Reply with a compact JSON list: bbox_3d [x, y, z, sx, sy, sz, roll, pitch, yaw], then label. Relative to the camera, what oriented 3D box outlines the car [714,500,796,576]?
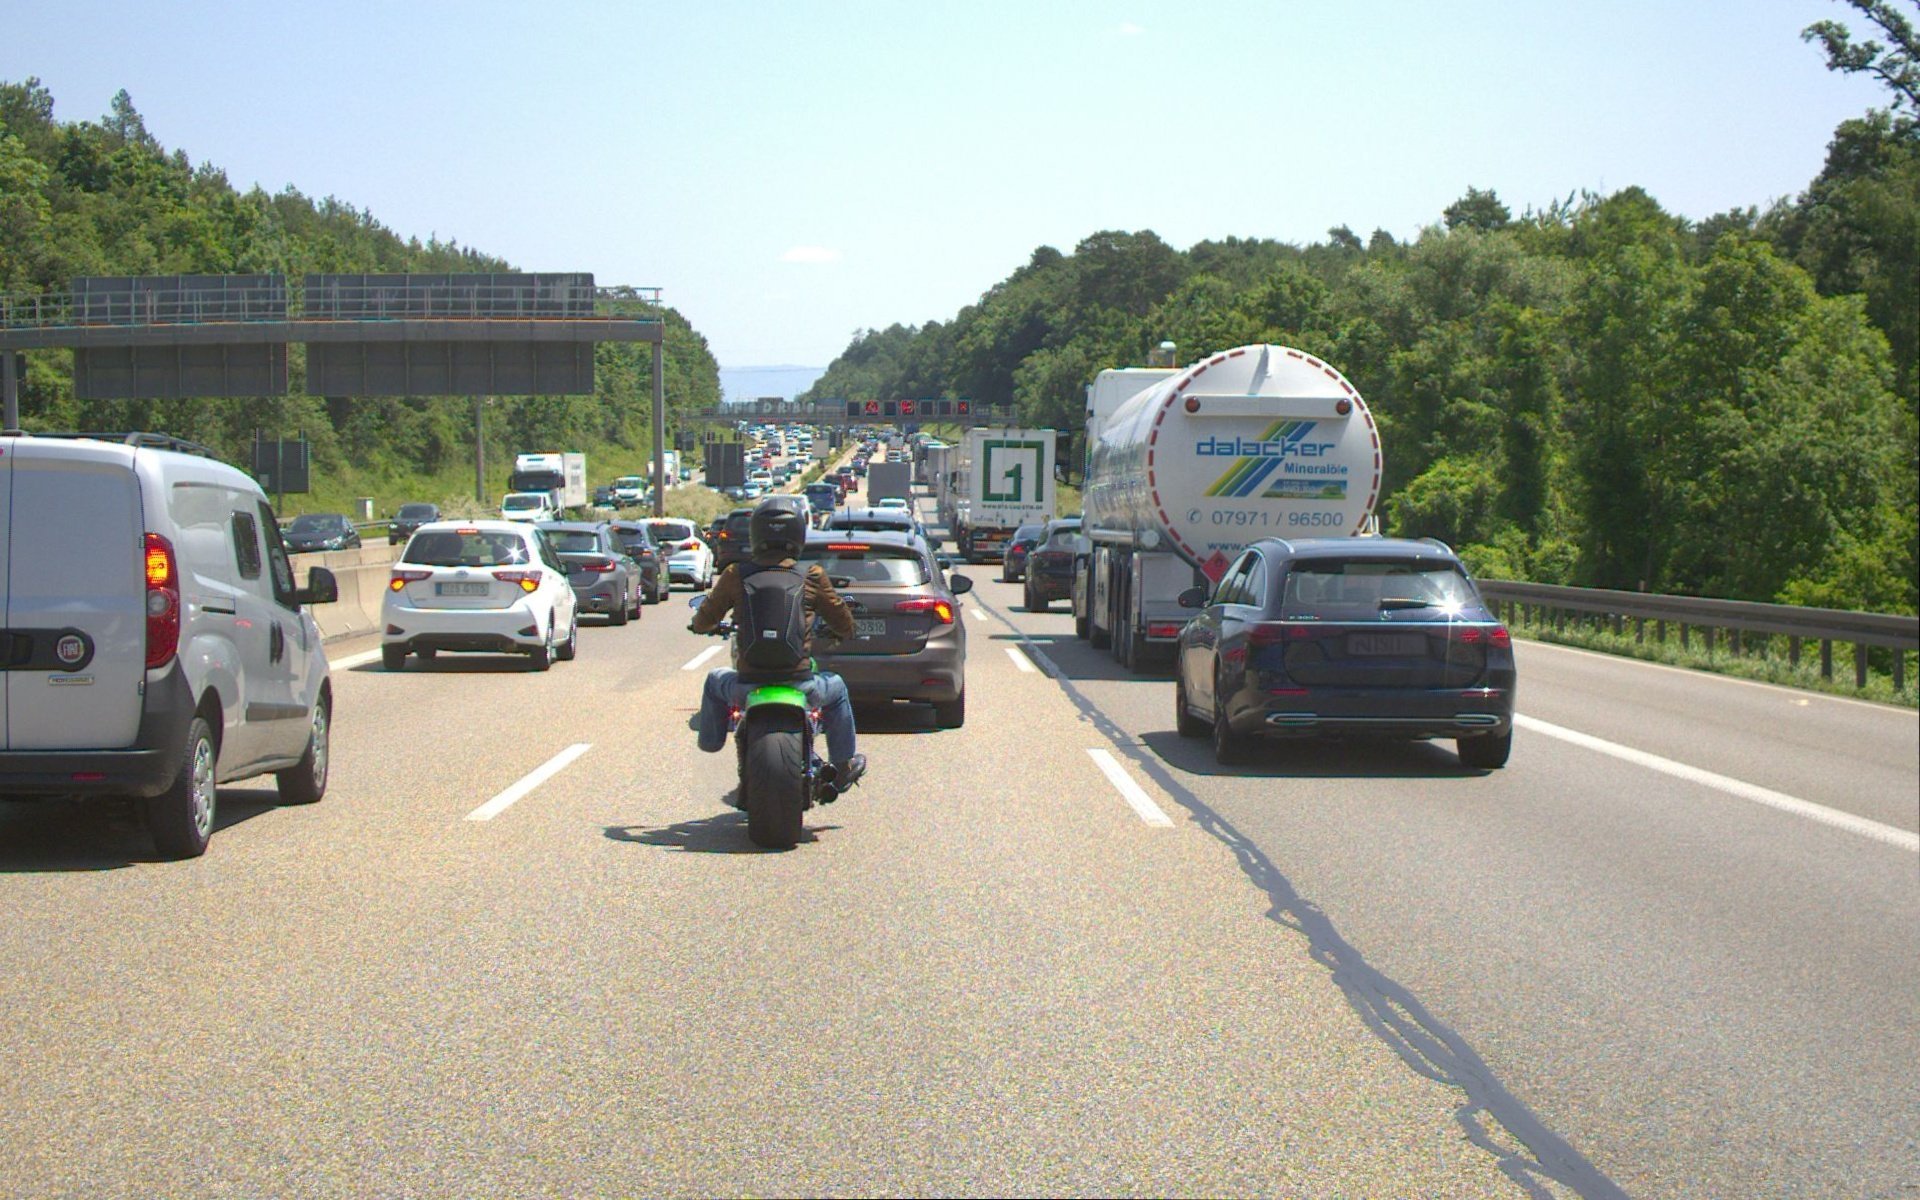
[{"bbox_3d":[-5.160,-1.576,86.763,1.880,1.853,4.000,0,1,-1],"label":"car"}]

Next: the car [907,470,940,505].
[{"bbox_3d":[-2.277,-7.031,215.755,1.993,2.007,4.000,-2,0,-1],"label":"car"}]

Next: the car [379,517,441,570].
[{"bbox_3d":[-21.984,-2.259,137.523,1.827,2.007,3.880,-2,0,-1],"label":"car"}]

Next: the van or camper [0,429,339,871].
[{"bbox_3d":[-4.249,0.198,16.714,1.796,1.886,4.160,0,0,-1],"label":"van or camper"}]

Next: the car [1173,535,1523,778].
[{"bbox_3d":[2.501,0.307,23.081,1.828,1.465,4.000,0,1,-1],"label":"car"}]

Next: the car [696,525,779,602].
[{"bbox_3d":[-6.134,-0.999,95.195,1.993,2.007,4.000,-2,0,0],"label":"car"}]

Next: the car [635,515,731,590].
[{"bbox_3d":[-5.641,-0.994,70.372,1.699,1.473,4.000,0,1,-1],"label":"car"}]

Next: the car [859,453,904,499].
[{"bbox_3d":[-4.454,-7.059,196.496,2.504,2.578,5.017,0,1,-1],"label":"car"}]

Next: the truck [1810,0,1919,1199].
[{"bbox_3d":[3.191,-0.484,2.092,2.688,3.863,9.781,-3,1,-1],"label":"truck"}]

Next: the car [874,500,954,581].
[{"bbox_3d":[-1.231,-1.562,91.305,1.993,2.007,4.000,-2,0,-1],"label":"car"}]

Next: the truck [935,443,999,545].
[{"bbox_3d":[0.317,-5.451,177.802,3.033,5.122,9.983,1,1,-1],"label":"truck"}]

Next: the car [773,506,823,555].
[{"bbox_3d":[-7.034,-3.002,149.533,1.993,2.007,4.000,-2,0,-1],"label":"car"}]

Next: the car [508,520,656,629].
[{"bbox_3d":[-5.305,-0.392,48.611,1.699,1.473,4.000,0,1,-1],"label":"car"}]

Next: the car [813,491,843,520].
[{"bbox_3d":[-9.117,-6.508,237.807,1.993,2.007,4.000,0,1,-1],"label":"car"}]

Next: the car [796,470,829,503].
[{"bbox_3d":[-9.258,-7.122,215.855,1.993,2.007,4.000,0,1,-1],"label":"car"}]

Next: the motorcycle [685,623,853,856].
[{"bbox_3d":[-0.908,0.649,16.821,0.691,1.012,2.121,0,1,0],"label":"motorcycle"}]

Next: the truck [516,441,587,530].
[{"bbox_3d":[-22.227,-6.197,187.568,2.765,4.724,10.472,0,1,-1],"label":"truck"}]

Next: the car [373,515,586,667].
[{"bbox_3d":[-4.922,-0.134,35.681,1.699,1.473,4.000,0,1,-1],"label":"car"}]

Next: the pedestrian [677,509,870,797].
[{"bbox_3d":[-0.912,0.247,17.051,0.849,1.357,0.961,-2,1,0],"label":"pedestrian"}]

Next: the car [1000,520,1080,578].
[{"bbox_3d":[1.908,-1.244,83.115,1.787,1.370,3.804,0,1,-1],"label":"car"}]

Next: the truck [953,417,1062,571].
[{"bbox_3d":[1.403,-3.256,106.774,3.033,4.527,9.983,1,1,-1],"label":"truck"}]

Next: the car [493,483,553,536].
[{"bbox_3d":[-18.245,-3.771,143.666,1.880,2.007,4.468,-3,0,-1],"label":"car"}]

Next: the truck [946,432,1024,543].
[{"bbox_3d":[1.006,-4.736,146.347,3.033,4.527,9.983,1,1,-1],"label":"truck"}]

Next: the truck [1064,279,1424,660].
[{"bbox_3d":[2.953,-1.326,38.690,2.988,3.659,9.288,-2,0,-1],"label":"truck"}]

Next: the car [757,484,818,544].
[{"bbox_3d":[-6.176,-3.084,123.663,1.929,2.007,4.000,-2,0,0],"label":"car"}]

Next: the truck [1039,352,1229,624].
[{"bbox_3d":[2.343,-1.486,47.574,1.993,3.510,4.752,-2,0,-3],"label":"truck"}]

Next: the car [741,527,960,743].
[{"bbox_3d":[-0.853,0.221,26.957,1.532,1.504,4.000,-2,1,-2],"label":"car"}]

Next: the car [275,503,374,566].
[{"bbox_3d":[-16.457,-1.702,89.206,1.880,1.588,4.000,0,1,-1],"label":"car"}]

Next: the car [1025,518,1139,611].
[{"bbox_3d":[2.096,-0.642,59.886,1.787,1.550,3.804,0,1,-1],"label":"car"}]

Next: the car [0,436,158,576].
[{"bbox_3d":[-16.273,-1.678,61.962,1.993,2.369,7.365,0,1,-1],"label":"car"}]
